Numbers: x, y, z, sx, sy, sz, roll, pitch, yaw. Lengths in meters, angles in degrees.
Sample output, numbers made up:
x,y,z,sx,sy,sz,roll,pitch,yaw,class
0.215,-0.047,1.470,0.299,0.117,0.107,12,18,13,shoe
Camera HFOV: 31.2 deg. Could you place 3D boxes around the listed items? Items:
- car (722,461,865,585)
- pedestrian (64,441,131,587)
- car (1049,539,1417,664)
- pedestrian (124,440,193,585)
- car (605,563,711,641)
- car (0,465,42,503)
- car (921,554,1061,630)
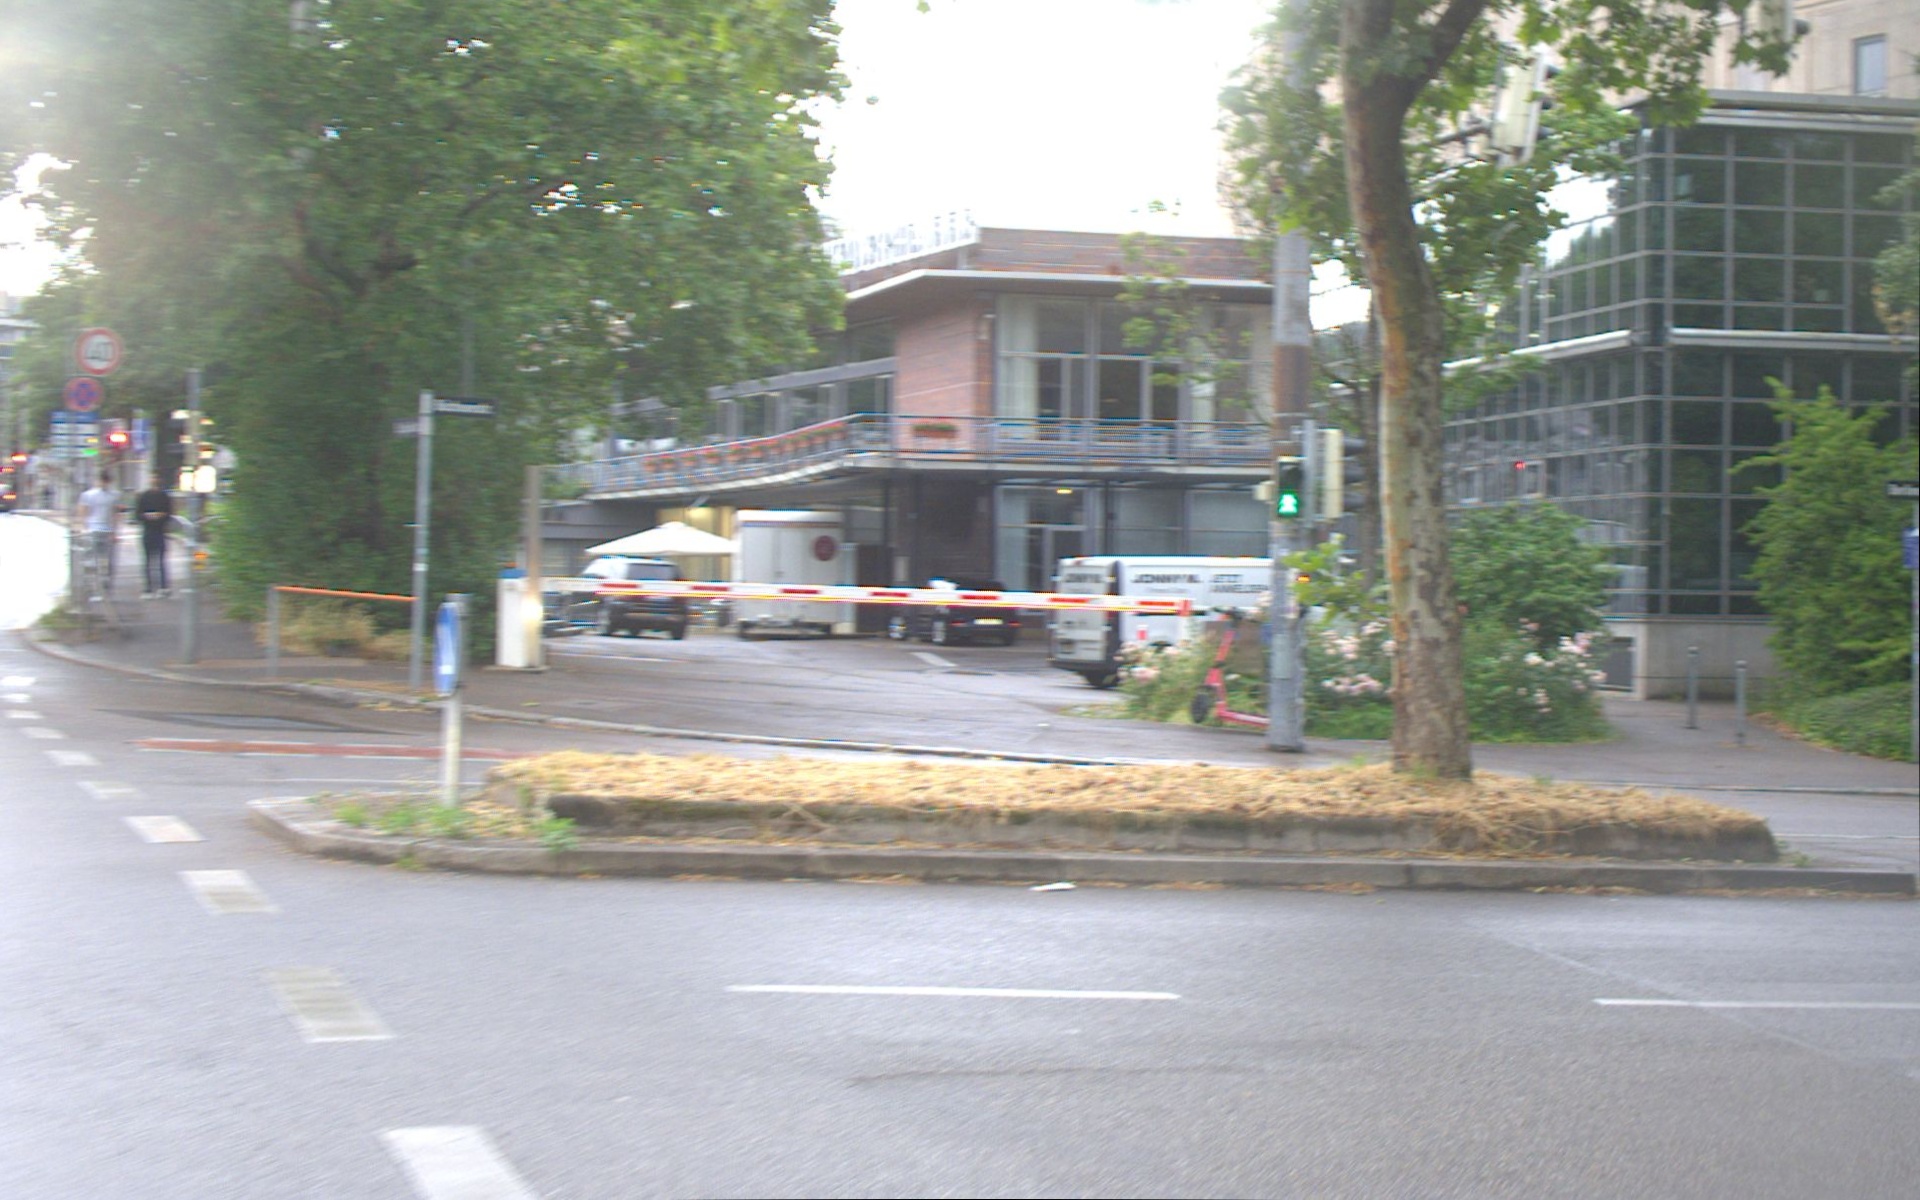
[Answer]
x,y,z,sx,sy,sz,roll,pitch,yaw,class
-3.948,-1.821,79.993,2.731,2.686,6.924,1,2,-7,car
-12.094,-1.210,48.209,0.814,2.006,1.078,-1,2,-10,pedestrian
4.072,0.029,51.115,5.199,1.725,1.875,1,2,-27,car
-11.291,-1.233,48.471,0.874,2.006,1.078,-1,2,-10,pedestrian
-6.675,0.021,76.403,2.019,1.545,4.351,2,2,-1,car
-46.130,-5.672,168.064,2.362,1.810,5.185,-1,2,-16,car
0.673,-0.207,77.959,2.019,1.545,4.352,1,2,-15,car
